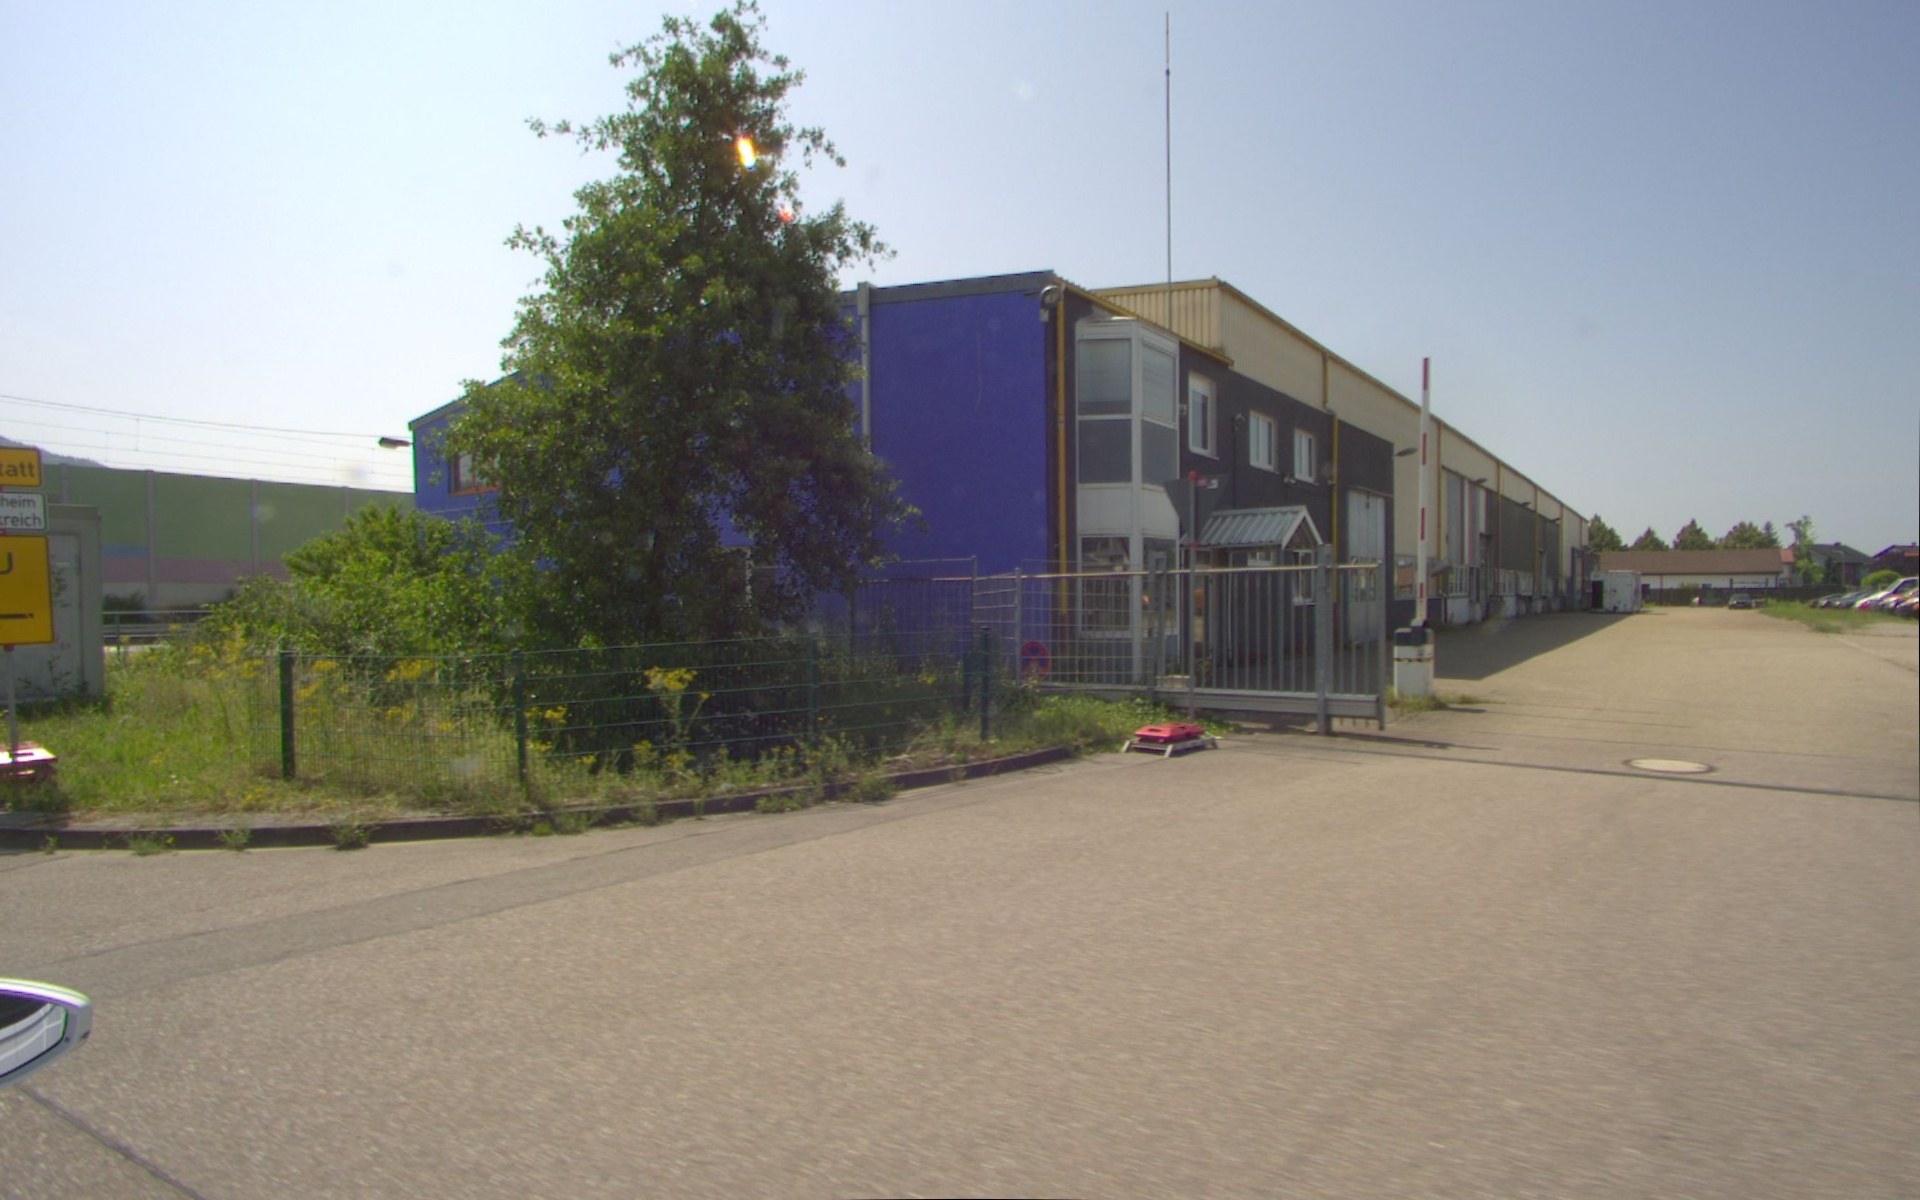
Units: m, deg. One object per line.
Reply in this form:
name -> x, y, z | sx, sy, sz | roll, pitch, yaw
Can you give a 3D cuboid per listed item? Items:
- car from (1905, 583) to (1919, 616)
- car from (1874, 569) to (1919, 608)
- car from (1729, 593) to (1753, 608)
car -> 46.301, -0.015, 45.754 | 4.335, 1.505, 1.740 | 0, 0, 39
car -> 54.740, -0.622, 56.603 | 4.335, 2.200, 1.959 | 1, 0, 39
car -> 72.188, 0.066, 92.580 | 1.586, 1.350, 3.813 | 0, 0, 37
